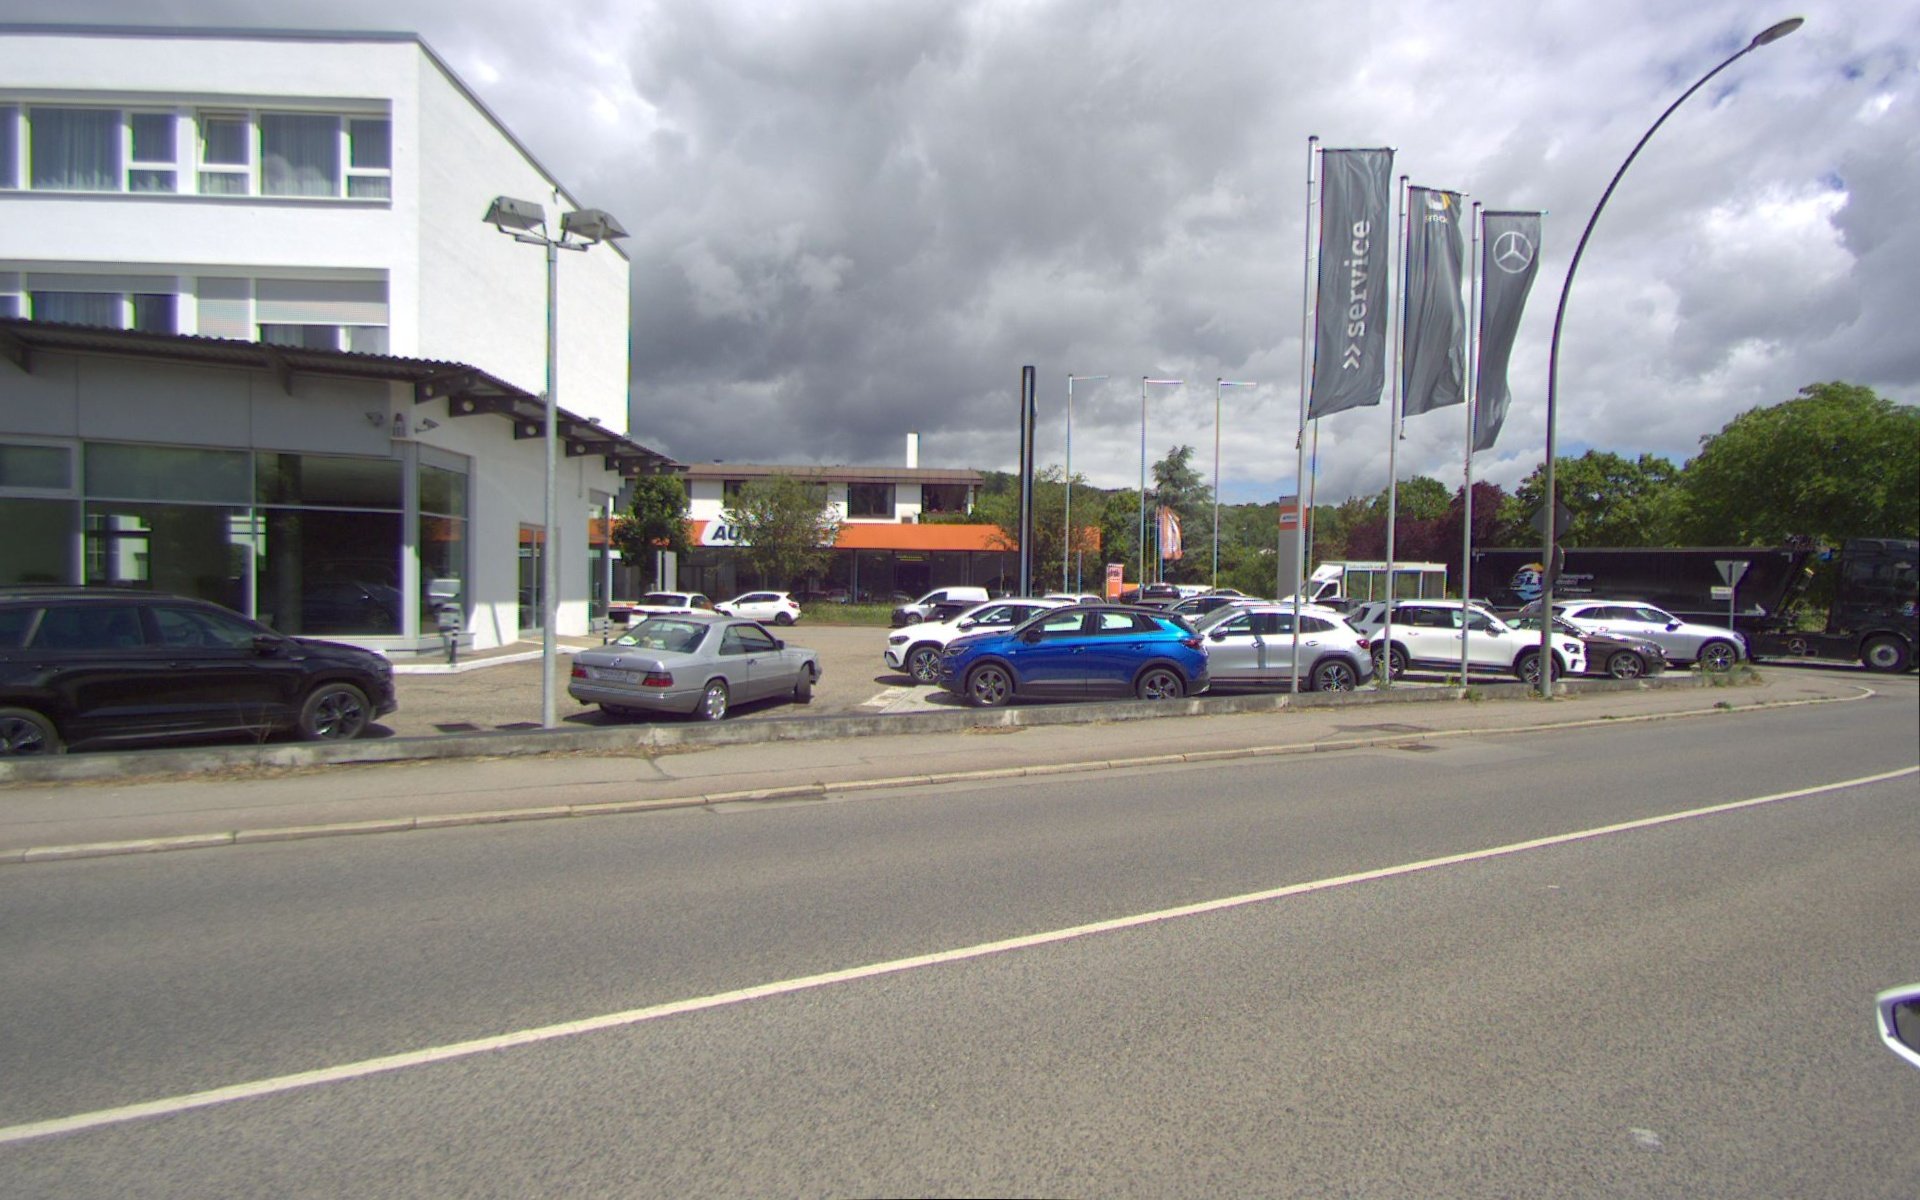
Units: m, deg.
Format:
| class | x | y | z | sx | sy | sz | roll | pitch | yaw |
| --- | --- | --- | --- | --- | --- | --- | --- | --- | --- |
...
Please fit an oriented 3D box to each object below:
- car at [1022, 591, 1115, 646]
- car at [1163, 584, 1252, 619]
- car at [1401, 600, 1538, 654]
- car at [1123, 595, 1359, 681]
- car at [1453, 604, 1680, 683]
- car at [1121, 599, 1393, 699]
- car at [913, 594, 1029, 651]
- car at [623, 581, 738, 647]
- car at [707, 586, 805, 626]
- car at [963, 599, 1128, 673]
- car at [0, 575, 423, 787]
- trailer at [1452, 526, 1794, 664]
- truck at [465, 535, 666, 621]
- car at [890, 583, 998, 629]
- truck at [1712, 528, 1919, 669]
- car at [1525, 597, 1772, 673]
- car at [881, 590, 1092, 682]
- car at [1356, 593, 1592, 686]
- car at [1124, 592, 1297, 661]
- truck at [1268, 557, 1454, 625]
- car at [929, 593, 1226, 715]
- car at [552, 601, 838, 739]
| class | x | y | z | sx | sy | sz | roll | pitch | yaw |
| --- | --- | --- | --- | --- | --- | --- | --- | --- | --- |
| car | 3.614 | 0.580 | 32.891 | 1.812 | 1.651 | 3.996 | 1 | 0 | 25 |
| car | 14.121 | 0.066 | 57.427 | 4.585 | 1.870 | 1.832 | 1 | 1 | -4 |
| car | 16.343 | 0.837 | 32.173 | 4.712 | 1.623 | 1.787 | 1 | -1 | -33 |
| car | 5.718 | 0.743 | 20.894 | 4.430 | 1.587 | 1.874 | 1 | 2 | 5 |
| car | 13.753 | 0.933 | 23.037 | 4.251 | 1.485 | 1.793 | 2 | 3 | 30 |
| car | 5.238 | 0.837 | 18.235 | 4.430 | 1.587 | 1.874 | 1 | 2 | 5 |
| car | 0.414 | 0.672 | 32.241 | 1.775 | 1.647 | 3.940 | 2 | 2 | 36 |
| car | -7.700 | 0.352 | 28.134 | 1.889 | 1.611 | 4.584 | 3 | 0 | 0 |
| car | -8.805 | 0.264 | 43.524 | 3.923 | 1.615 | 1.730 | 1 | 1 | -3 |
| car | 2.105 | 0.847 | 24.650 | 3.875 | 1.647 | 1.805 | 1 | 1 | 6 |
| car | -7.921 | 0.640 | 9.867 | 1.773 | 1.647 | 4.341 | 5 | 4 | 32 |
| trailer | 22.333 | -0.208 | 34.297 | 9.329 | 4.137 | 3.302 | 2 | 0 | 42 |
| truck | -16.964 | -0.930 | 43.533 | 7.667 | 3.469 | 2.447 | 1 | 1 | 0 |
| car | -0.738 | 0.271 | 43.906 | 4.585 | 1.870 | 1.832 | 1 | 1 | -4 |
| truck | 26.416 | -0.039 | 30.154 | 2.958 | 3.874 | 5.512 | 1 | 0 | -37 |
| car | 17.119 | 0.816 | 25.235 | 4.646 | 1.627 | 1.989 | 2 | 2 | 12 |
| car | 0.460 | 0.657 | 19.348 | 3.878 | 1.647 | 1.803 | 1 | 1 | -3 |
| car | 10.726 | 0.753 | 21.204 | 4.219 | 1.700 | 1.934 | 2 | 1 | 27 |
| car | 6.684 | 0.682 | 27.112 | 4.344 | 1.638 | 1.868 | 1 | 2 | 11 |
| truck | 19.754 | -0.400 | 49.604 | 8.438 | 3.090 | 2.659 | 1 | 0 | -11 |
| car | 1.843 | 0.811 | 16.321 | 4.479 | 1.691 | 1.895 | 2 | 2 | 5 |
| car | -3.604 | 0.853 | 14.671 | 1.768 | 1.409 | 4.598 | 4 | 3 | 18 |
